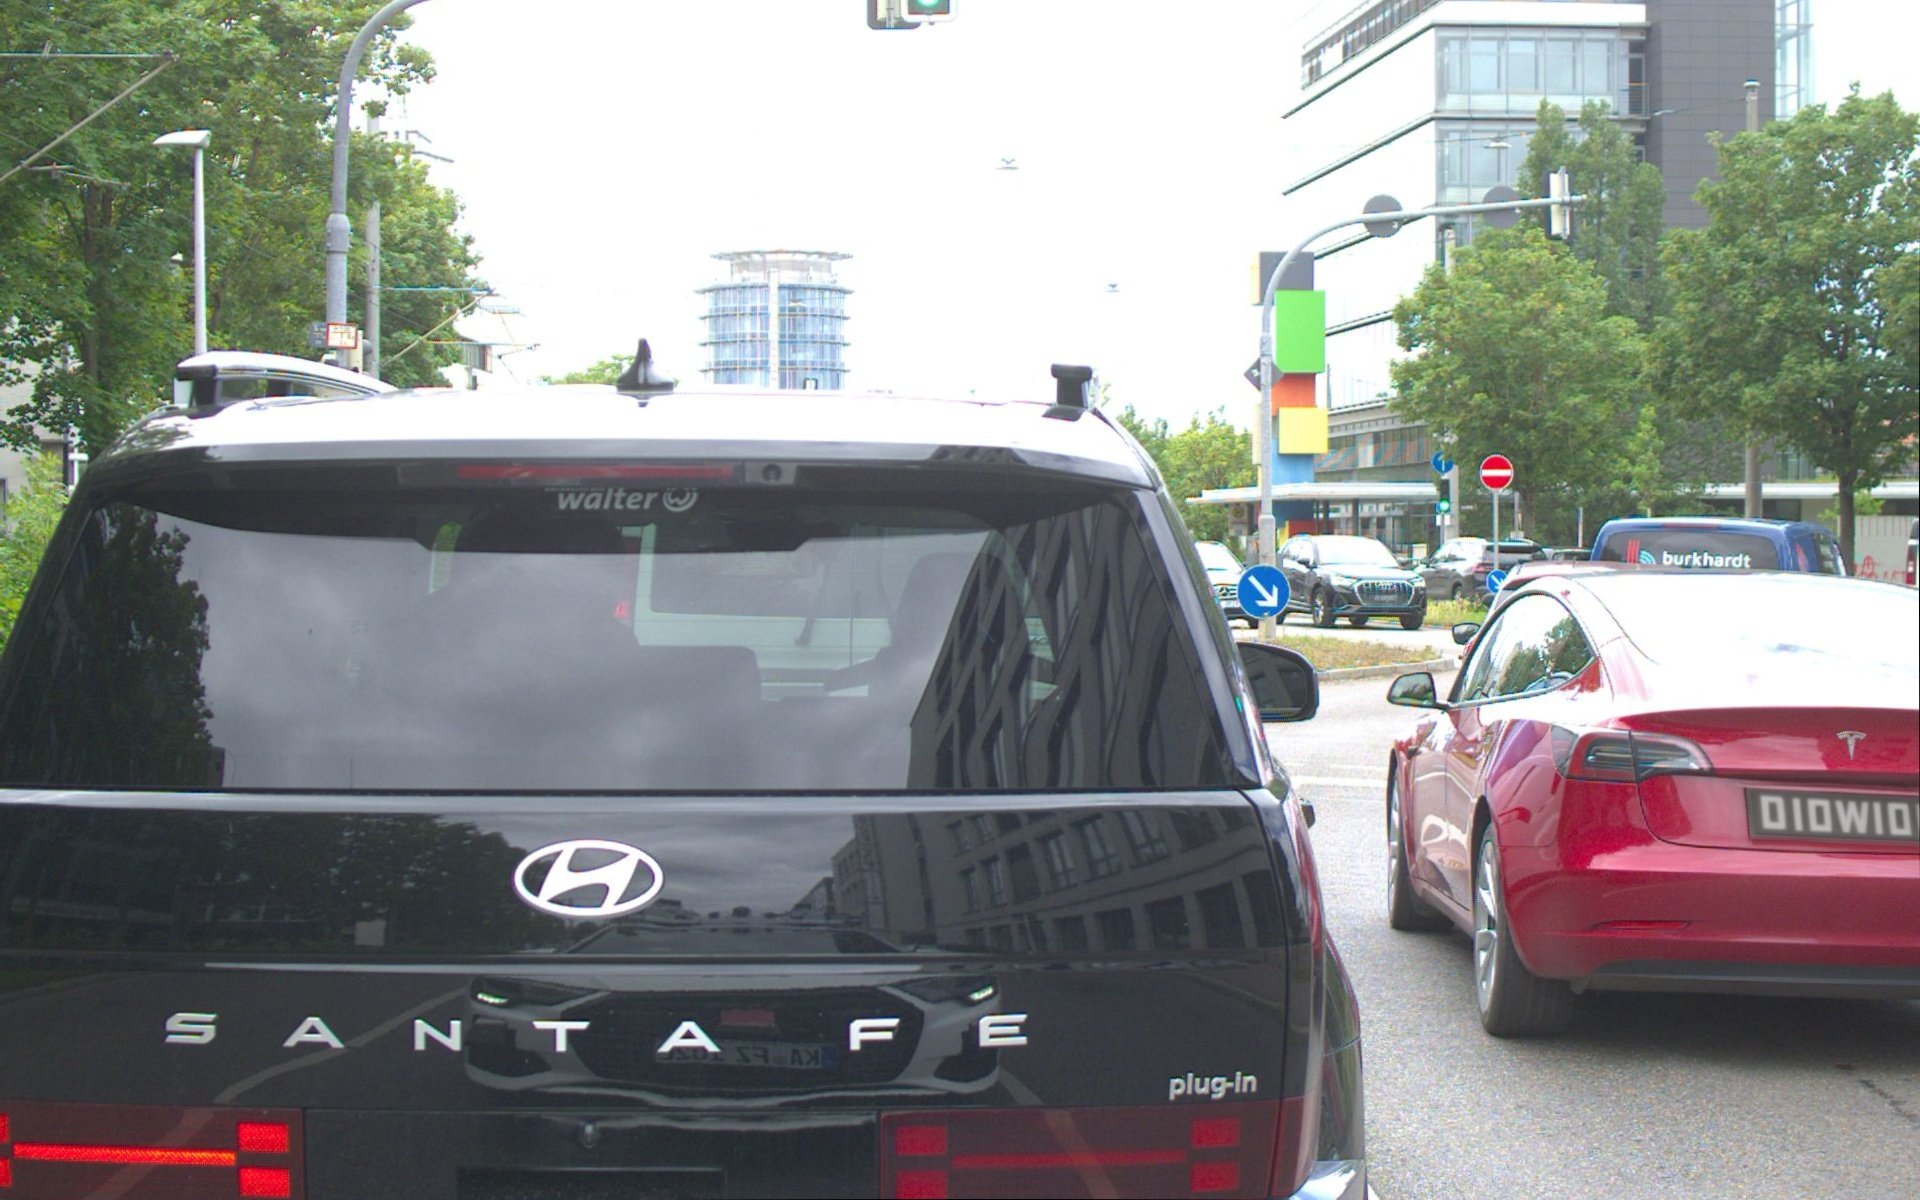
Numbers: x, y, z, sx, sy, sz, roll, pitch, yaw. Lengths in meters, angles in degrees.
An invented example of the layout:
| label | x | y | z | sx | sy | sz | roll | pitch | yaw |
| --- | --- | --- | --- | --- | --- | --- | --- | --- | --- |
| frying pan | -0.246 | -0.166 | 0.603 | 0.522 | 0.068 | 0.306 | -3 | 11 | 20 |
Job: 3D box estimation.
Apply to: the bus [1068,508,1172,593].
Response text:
| label | x | y | z | sx | sy | sz | roll | pitch | yaw |
| --- | --- | --- | --- | --- | --- | --- | --- | --- | --- |
| bus | 6.123 | -1.886 | 133.211 | 2.966 | 3.106 | 9.245 | -1 | 0 | -4 |

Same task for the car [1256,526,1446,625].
| label | x | y | z | sx | sy | sz | roll | pitch | yaw |
| --- | --- | --- | --- | --- | --- | --- | --- | --- | --- |
| car | 6.765 | -0.455 | 59.961 | 1.887 | 1.559 | 4.397 | 1 | 2 | -13 |

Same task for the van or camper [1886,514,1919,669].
| label | x | y | z | sx | sy | sz | roll | pitch | yaw |
| --- | --- | --- | --- | --- | --- | --- | --- | --- | --- |
| van or camper | 13.280 | -0.134 | 44.326 | 1.996 | 1.911 | 4.404 | 2 | 2 | 22 |

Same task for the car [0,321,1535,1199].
| label | x | y | z | sx | sy | sz | roll | pitch | yaw |
| --- | --- | --- | --- | --- | --- | --- | --- | --- | --- |
| car | -0.417 | 0.552 | 5.715 | 1.902 | 1.725 | 4.446 | 2 | 1 | -1 |

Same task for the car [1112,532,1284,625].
| label | x | y | z | sx | sy | sz | roll | pitch | yaw |
| --- | --- | --- | --- | --- | --- | --- | --- | --- | --- |
| car | 4.002 | -0.385 | 58.586 | 1.782 | 1.421 | 4.397 | 1 | 2 | -11 |

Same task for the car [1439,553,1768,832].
| label | x | y | z | sx | sy | sz | roll | pitch | yaw |
| --- | --- | --- | --- | --- | --- | --- | --- | --- | --- |
| car | 3.849 | 0.480 | 20.798 | 1.745 | 1.476 | 3.717 | 1 | 1 | 10 |

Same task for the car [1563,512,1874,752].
| label | x | y | z | sx | sy | sz | roll | pitch | yaw |
| --- | --- | --- | --- | --- | --- | --- | --- | --- | --- |
| car | 6.659 | 0.225 | 29.808 | 1.904 | 1.852 | 4.704 | 2 | 1 | 21 |

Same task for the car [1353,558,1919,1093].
| label | x | y | z | sx | sy | sz | roll | pitch | yaw |
| --- | --- | --- | --- | --- | --- | --- | --- | --- | --- |
| car | 2.512 | 0.607 | 11.711 | 1.873 | 1.413 | 4.443 | 2 | 1 | 1 |

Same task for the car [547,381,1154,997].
| label | x | y | z | sx | sy | sz | roll | pitch | yaw |
| --- | --- | --- | --- | --- | --- | --- | --- | --- | --- |
| car | -0.235 | 0.245 | 13.593 | 1.902 | 1.962 | 4.635 | 2 | 1 | 4 |
